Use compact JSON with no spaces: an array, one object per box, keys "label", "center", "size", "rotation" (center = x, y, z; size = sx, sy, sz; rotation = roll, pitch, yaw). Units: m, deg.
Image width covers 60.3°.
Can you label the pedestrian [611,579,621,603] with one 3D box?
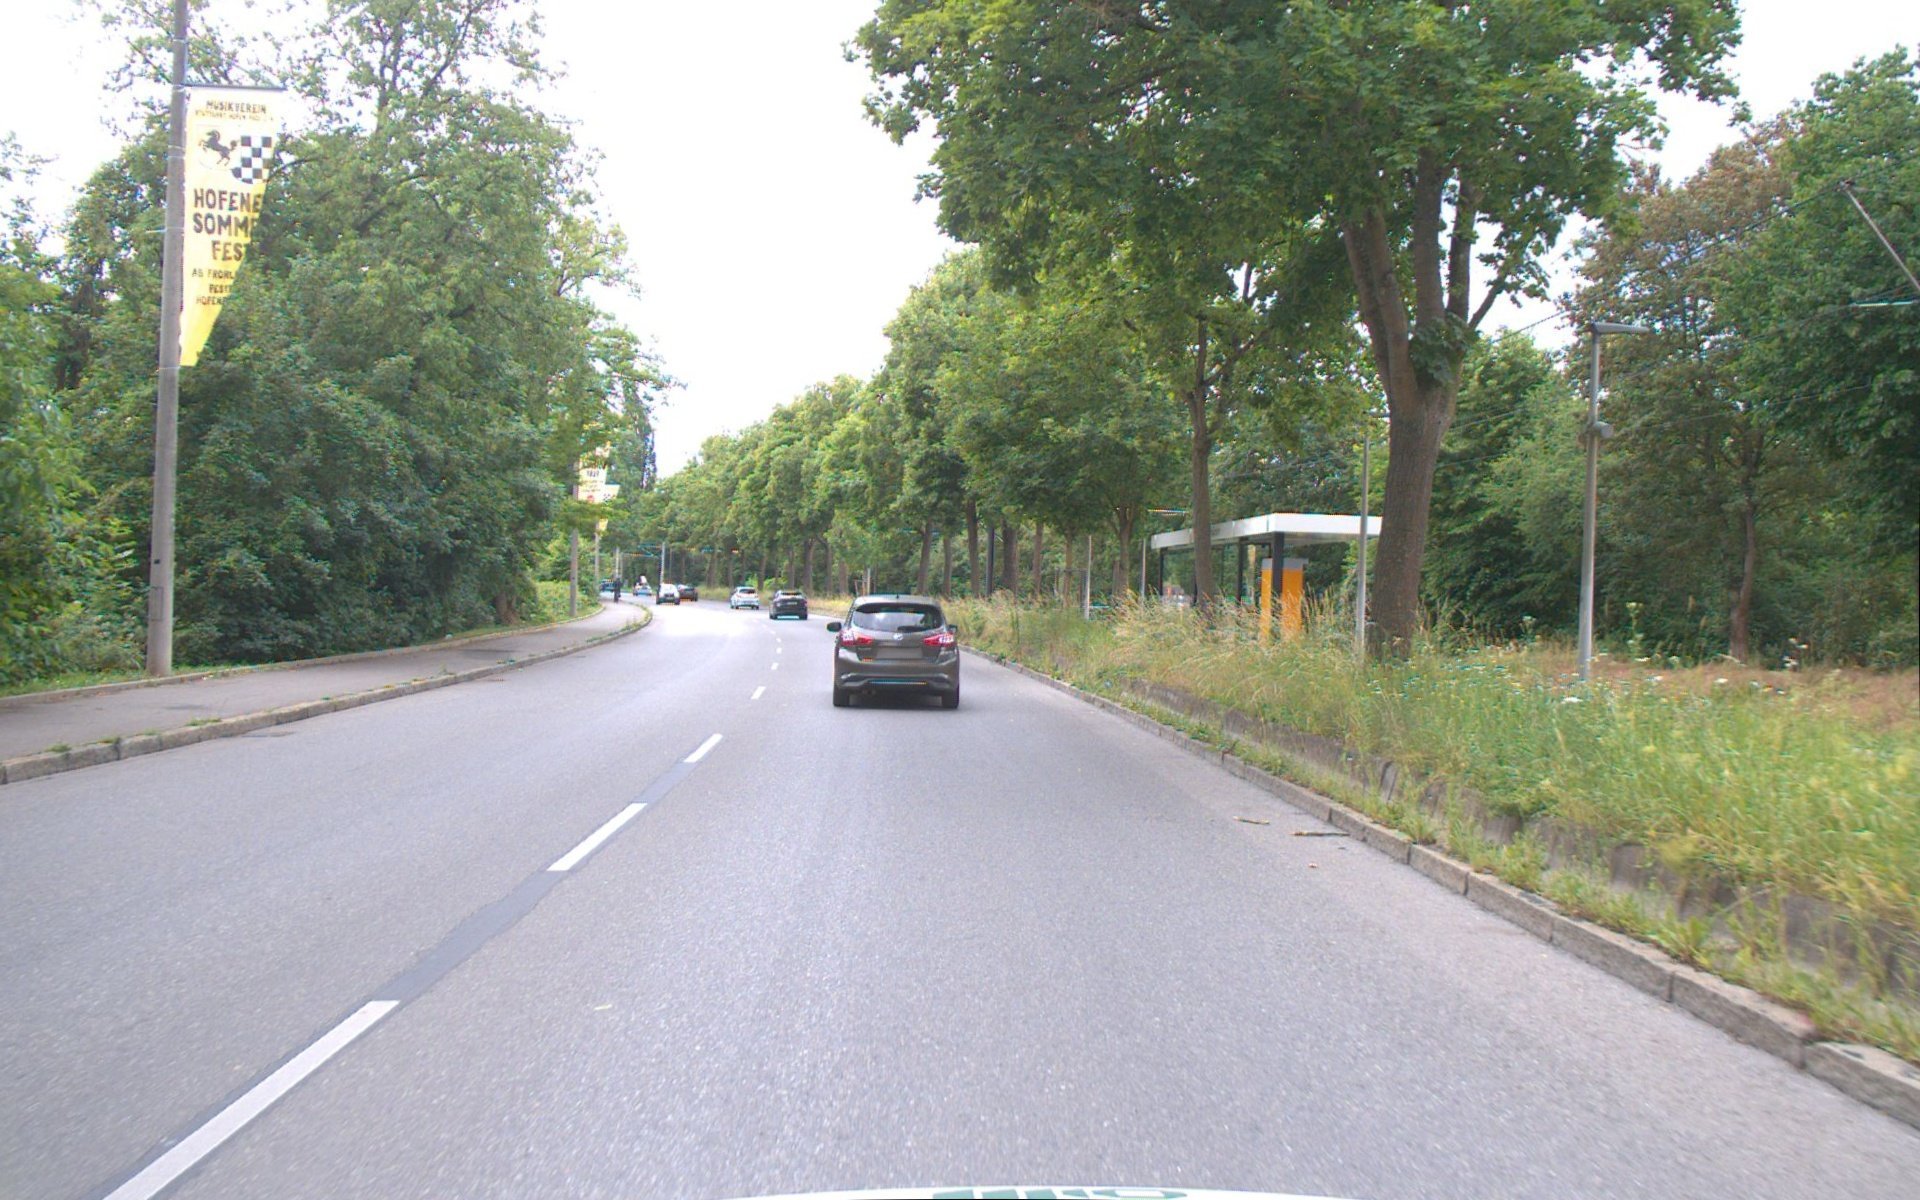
[{"label":"pedestrian","center":[-23.492,-0.610,112.991],"size":[0.607,1.598,0.846],"rotation":[3,0,-13]}]

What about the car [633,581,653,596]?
[{"label":"car","center":[-34.811,-1.292,181.520],"size":[1.746,1.497,3.985],"rotation":[4,1,-15]}]

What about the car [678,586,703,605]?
[{"label":"car","center":[-24.014,-0.404,147.220],"size":[1.747,1.497,3.985],"rotation":[4,1,-15]}]

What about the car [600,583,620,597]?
[{"label":"car","center":[-44.027,-1.262,208.008],"size":[1.750,1.497,3.977],"rotation":[3,1,-20]}]

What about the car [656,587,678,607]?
[{"label":"car","center":[-22.276,-0.245,125.711],"size":[1.567,1.532,3.020],"rotation":[1,0,-11]}]

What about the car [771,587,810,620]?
[{"label":"car","center":[-8.629,0.152,83.833],"size":[1.743,1.497,3.993],"rotation":[4,1,-8]}]

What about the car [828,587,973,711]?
[{"label":"car","center":[-0.935,0.637,23.763],"size":[1.781,1.534,3.995],"rotation":[1,1,-6]}]

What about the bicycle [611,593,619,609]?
[{"label":"bicycle","center":[-23.548,0.071,112.967],"size":[0.479,1.048,1.121],"rotation":[3,1,-13]}]

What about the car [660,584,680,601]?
[{"label":"car","center":[-28.255,-0.702,161.273],"size":[1.743,1.497,3.992],"rotation":[2,1,-9]}]

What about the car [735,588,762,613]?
[{"label":"car","center":[-14.406,0.021,112.657],"size":[1.743,1.497,3.994],"rotation":[4,1,-8]}]
